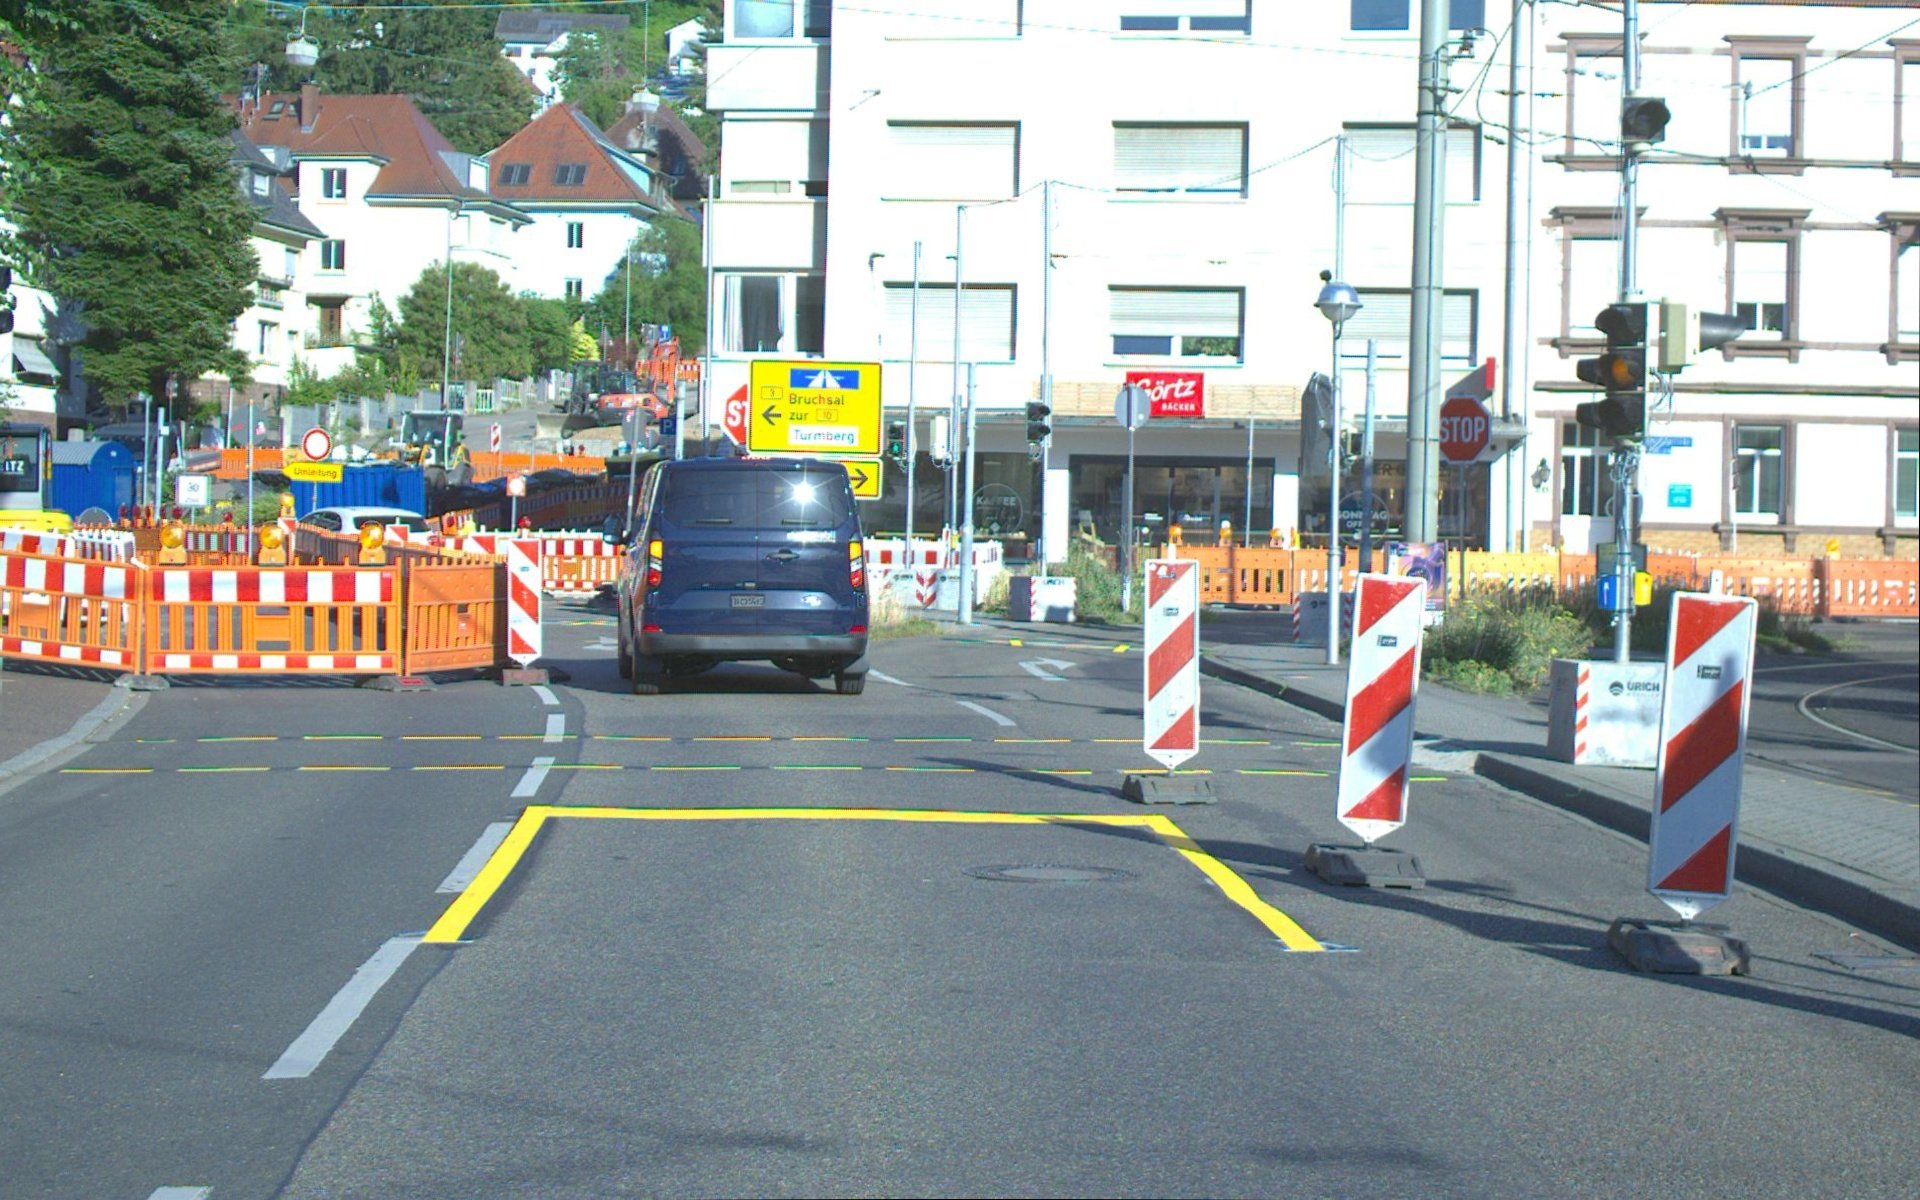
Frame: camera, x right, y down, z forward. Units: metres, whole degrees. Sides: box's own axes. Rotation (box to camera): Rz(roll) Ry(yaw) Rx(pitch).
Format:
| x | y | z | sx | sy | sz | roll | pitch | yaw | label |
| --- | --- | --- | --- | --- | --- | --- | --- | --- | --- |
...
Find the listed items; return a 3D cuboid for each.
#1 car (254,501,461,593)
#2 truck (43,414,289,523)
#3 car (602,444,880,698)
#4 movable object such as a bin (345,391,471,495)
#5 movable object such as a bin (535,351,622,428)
| x | y | z | sx | sy | sz | roll | pitch | yaw | label |
| --- | --- | --- | --- | --- | --- | --- | --- | --- | --- |
| -9.740 | -0.863 | 55.362 | 1.794 | 1.405 | 4.000 | 0 | 1 | -34 | car |
| -18.864 | -3.078 | 82.349 | 2.357 | 2.407 | 9.148 | 2 | 1 | 10 | truck |
| -2.021 | -0.293 | 30.187 | 2.061 | 2.007 | 5.001 | 1 | 1 | -8 | car |
| -14.910 | -4.220 | 92.982 | 2.191 | 2.681 | 3.999 | 2 | 1 | 9 | movable object such as a bin |
| -14.111 | -7.790 | 127.508 | 2.191 | 2.681 | 3.999 | 2 | 1 | 9 | movable object such as a bin |
